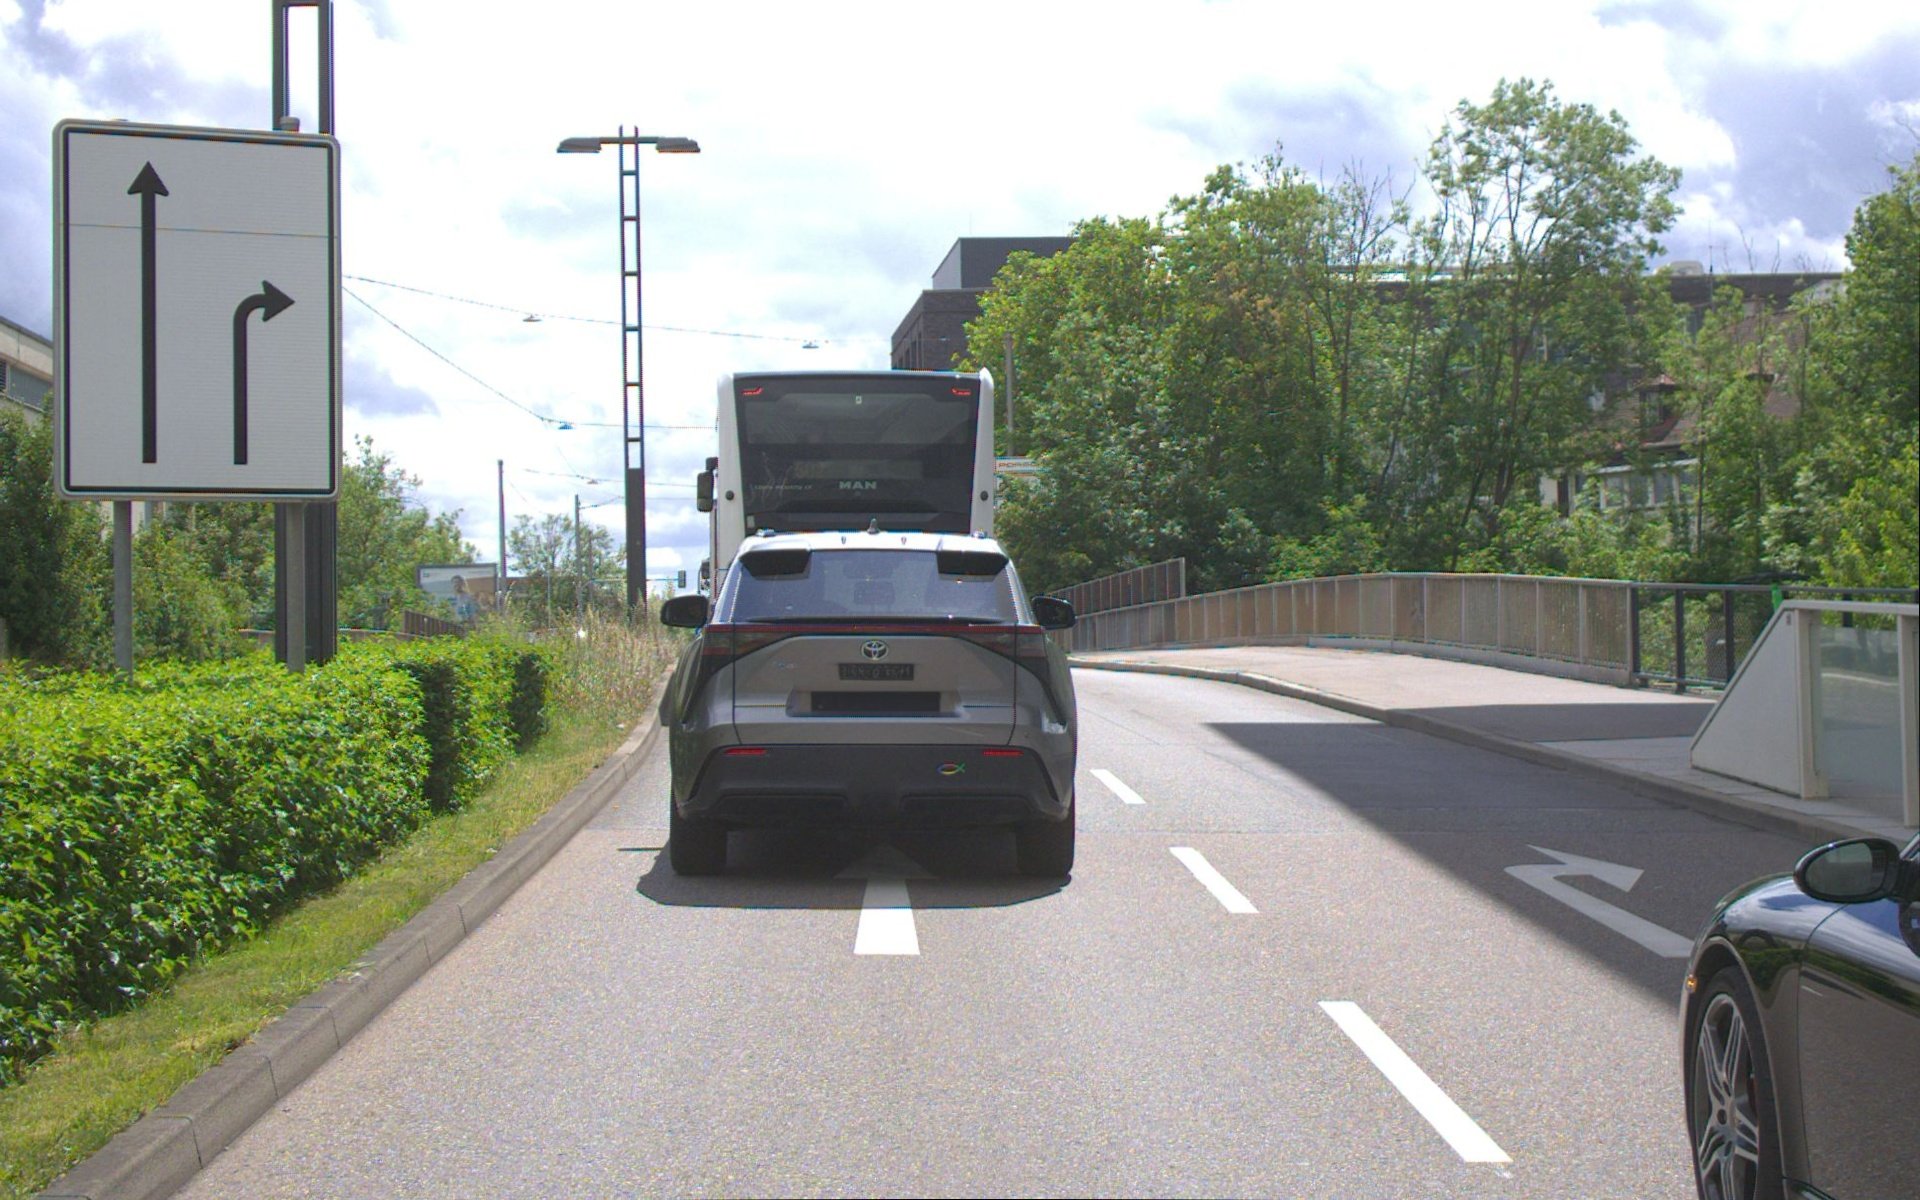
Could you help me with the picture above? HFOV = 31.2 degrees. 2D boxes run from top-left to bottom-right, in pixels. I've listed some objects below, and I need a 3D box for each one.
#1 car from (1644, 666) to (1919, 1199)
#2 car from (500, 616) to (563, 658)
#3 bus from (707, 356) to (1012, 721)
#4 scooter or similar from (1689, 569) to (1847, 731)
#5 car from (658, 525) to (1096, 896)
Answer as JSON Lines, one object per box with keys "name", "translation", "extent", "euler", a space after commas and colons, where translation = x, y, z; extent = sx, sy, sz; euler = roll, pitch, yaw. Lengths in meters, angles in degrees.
{"name": "car", "translation": [2.423, 0.801, 5.707], "extent": [1.720, 1.271, 4.088], "euler": [0, 0, -1]}
{"name": "car", "translation": [-14.159, 1.224, 113.725], "extent": [1.754, 1.271, 4.000], "euler": [-3, 0, -4]}
{"name": "bus", "translation": [-1.007, -0.717, 36.809], "extent": [2.689, 3.244, 12.058], "euler": [1, 2, -1]}
{"name": "scooter or similar", "translation": [6.295, 0.371, 26.874], "extent": [0.653, 1.210, 1.858], "euler": [-2, 0, -4]}
{"name": "car", "translation": [-0.421, 0.465, 16.955], "extent": [1.879, 1.588, 4.230], "euler": [0, 0, -2]}
